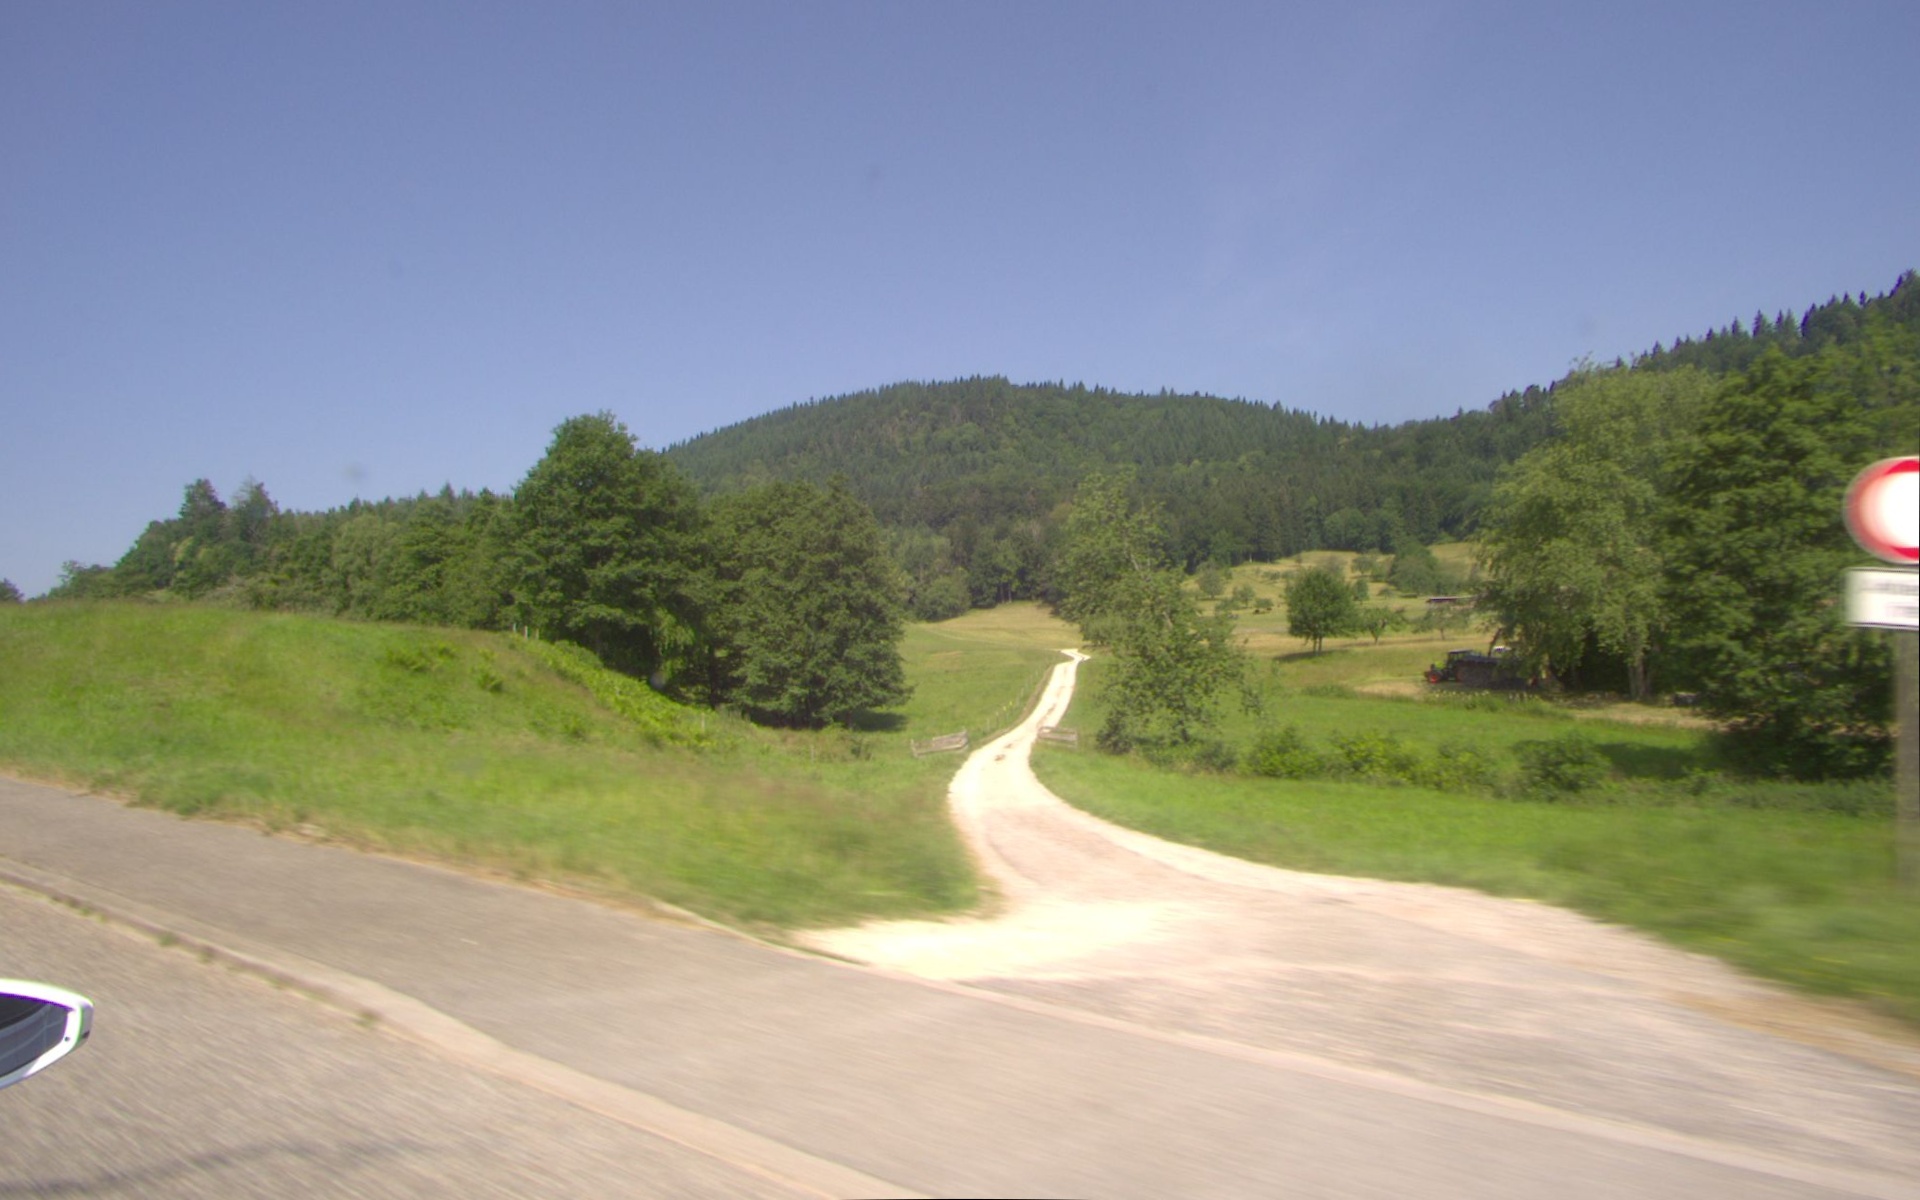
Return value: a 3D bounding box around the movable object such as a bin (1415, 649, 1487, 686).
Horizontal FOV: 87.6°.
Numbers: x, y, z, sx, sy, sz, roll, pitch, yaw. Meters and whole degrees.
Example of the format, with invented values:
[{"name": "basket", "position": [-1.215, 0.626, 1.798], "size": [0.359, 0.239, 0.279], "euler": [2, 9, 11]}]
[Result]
[{"name": "movable object such as a bin", "position": [36.366, 4.983, 74.164], "size": [4.485, 2.631, 1.988], "euler": [-3, -3, 36]}]
